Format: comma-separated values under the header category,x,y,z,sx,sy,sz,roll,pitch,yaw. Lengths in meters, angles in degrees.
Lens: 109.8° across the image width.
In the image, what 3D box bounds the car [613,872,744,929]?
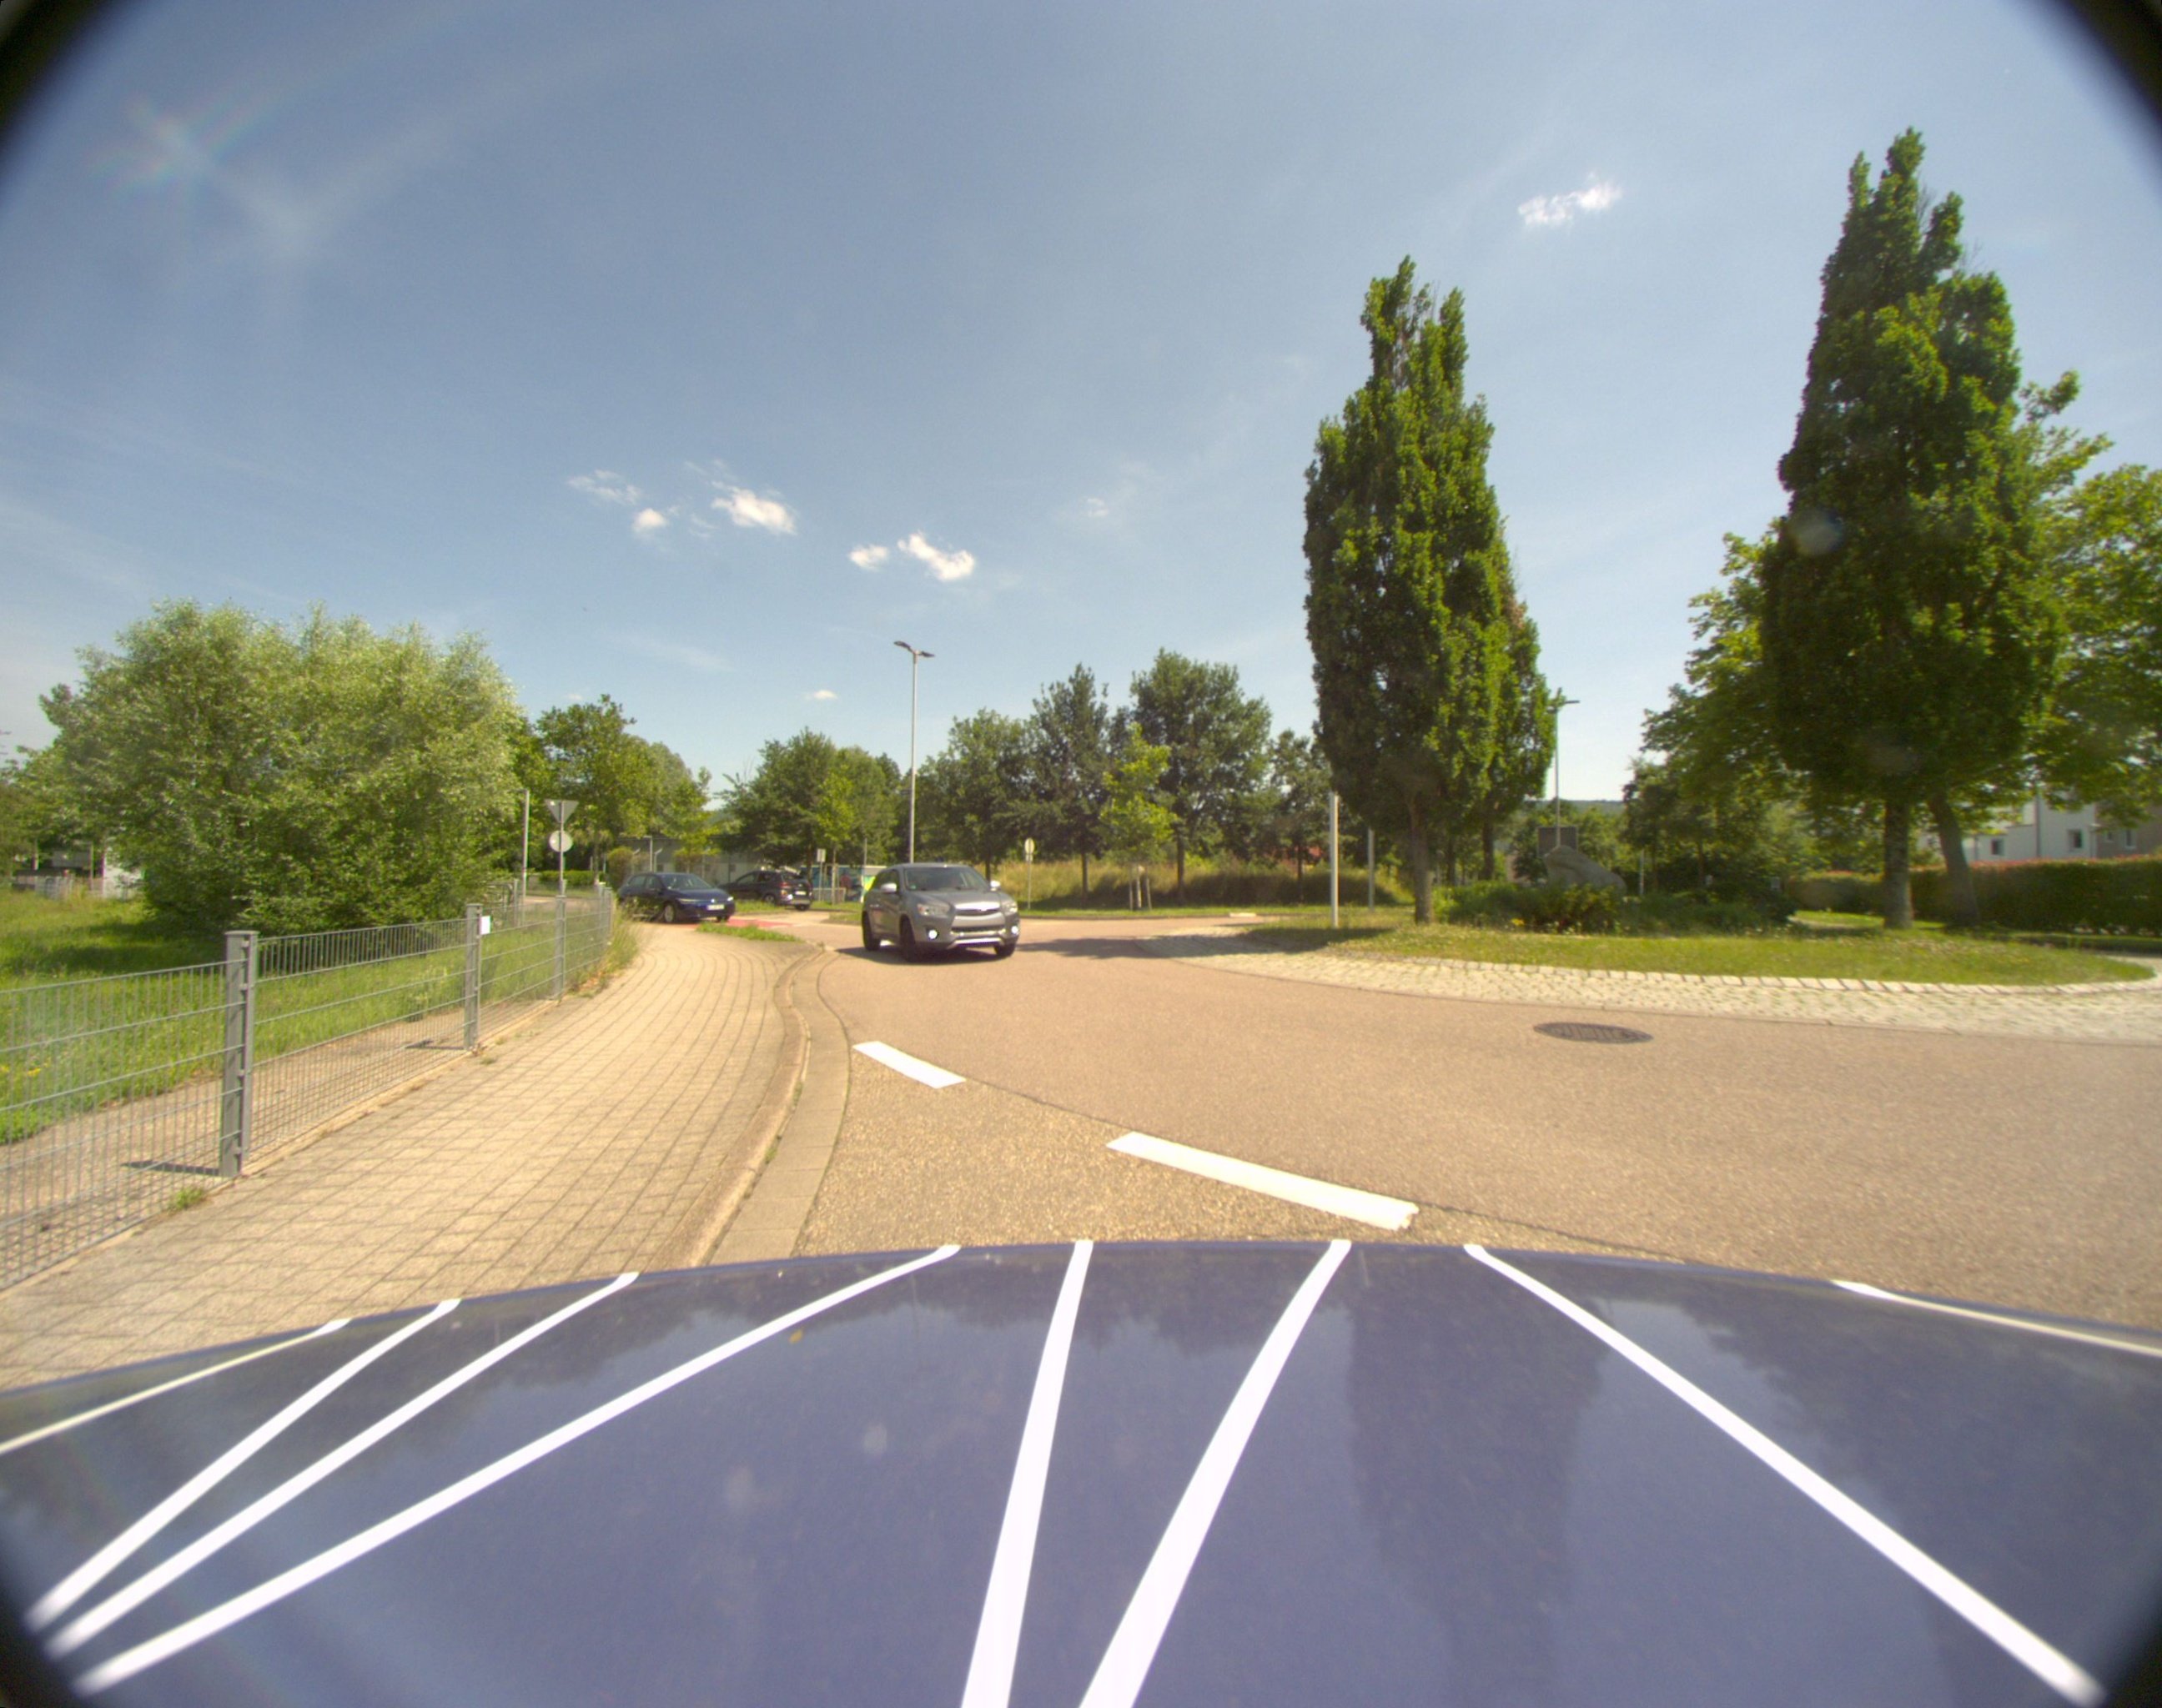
category,x,y,z,sx,sy,sz,roll,pitch,yaw
car,-12.023,1.308,22.623,4.119,1.530,1.799,-1,-1,36

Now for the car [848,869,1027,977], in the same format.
category,x,y,z,sx,sy,sz,roll,pitch,yaw
car,-2.694,1.036,13.298,1.754,1.524,4.514,1,-1,-29

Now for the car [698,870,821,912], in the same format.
category,x,y,z,sx,sy,sz,roll,pitch,yaw
car,-12.592,1.424,29.747,4.476,1.559,1.870,-1,-2,25
